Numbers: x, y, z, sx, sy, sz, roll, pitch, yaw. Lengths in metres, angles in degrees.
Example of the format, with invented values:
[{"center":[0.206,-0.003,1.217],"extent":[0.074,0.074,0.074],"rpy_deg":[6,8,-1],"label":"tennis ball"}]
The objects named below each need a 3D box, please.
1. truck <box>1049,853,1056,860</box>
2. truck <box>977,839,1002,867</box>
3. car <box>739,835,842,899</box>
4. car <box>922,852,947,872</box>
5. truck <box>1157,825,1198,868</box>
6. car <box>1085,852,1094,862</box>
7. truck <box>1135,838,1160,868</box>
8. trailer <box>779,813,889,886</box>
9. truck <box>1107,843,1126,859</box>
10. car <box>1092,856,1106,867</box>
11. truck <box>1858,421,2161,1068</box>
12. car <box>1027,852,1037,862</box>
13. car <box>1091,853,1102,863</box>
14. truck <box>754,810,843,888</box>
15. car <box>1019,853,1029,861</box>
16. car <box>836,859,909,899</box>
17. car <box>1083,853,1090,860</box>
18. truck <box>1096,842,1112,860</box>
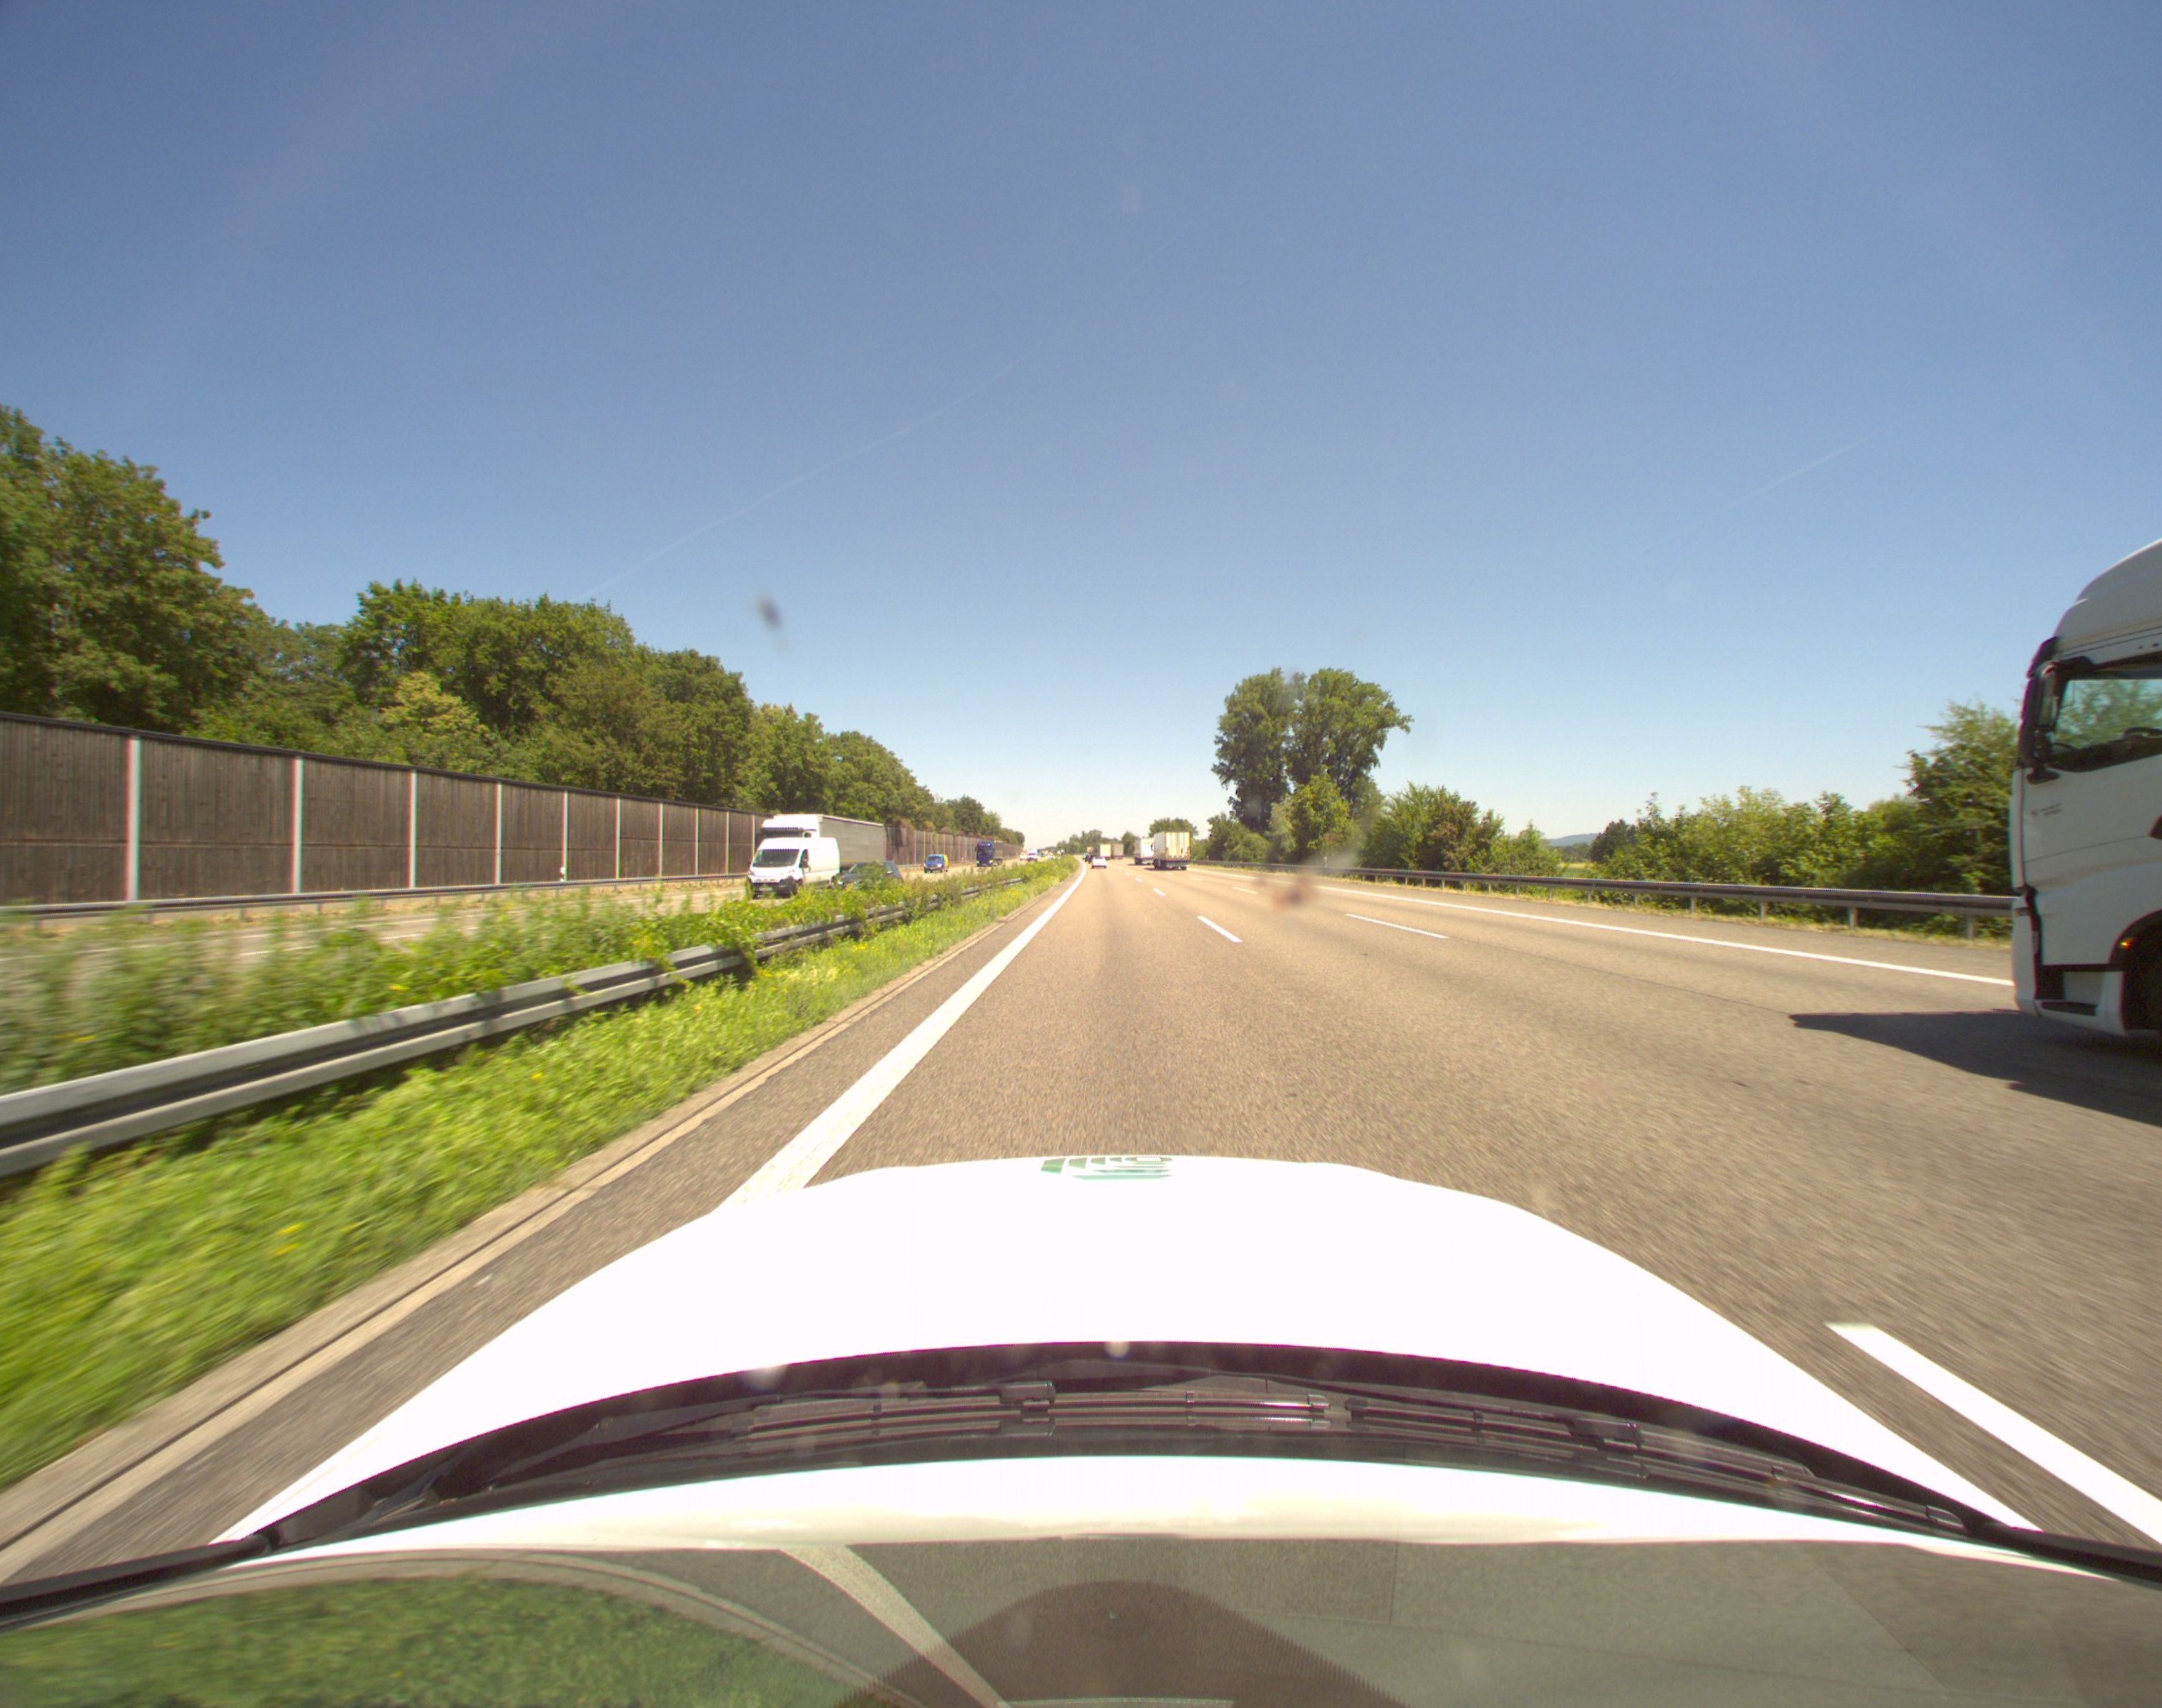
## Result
[{"center":[-7.137,0.607,202.277],"extent":[1.813,1.524,3.625],"rpy_deg":[0,-1,-2],"label":"truck"},{"center":[-14.213,-0.105,126.628],"extent":[2.602,4.128,10.279],"rpy_deg":[-1,0,0],"label":"truck"},{"center":[-12.003,0.505,34.185],"extent":[2.073,2.401,6.043],"rpy_deg":[-1,0,1],"label":"car"},{"center":[-15.288,0.844,85.076],"extent":[1.795,2.014,4.000],"rpy_deg":[-1,0,1],"label":"car"},{"center":[10.077,-0.701,86.478],"extent":[3.478,4.311,10.994],"rpy_deg":[0,-1,2],"label":"truck"},{"center":[1.838,0.708,174.052],"extent":[1.986,2.014,4.001],"rpy_deg":[-1,0,2],"label":"car"},{"center":[10.095,-0.129,124.007],"extent":[3.346,4.311,10.834],"rpy_deg":[0,-1,2],"label":"truck"},{"center":[-15.322,-0.230,52.079],"extent":[2.495,4.034,13.426],"rpy_deg":[0,0,2],"label":"trailer"},{"center":[9.592,-0.736,221.020],"extent":[3.822,4.311,11.537],"rpy_deg":[0,-1,-4],"label":"truck"},{"center":[2.221,0.913,100.543],"extent":[1.709,1.369,3.377],"rpy_deg":[-1,0,2],"label":"car"},{"center":[8.450,-0.739,4.805],"extent":[2.596,4.287,5.437],"rpy_deg":[0,-1,2],"label":"truck"},{"center":[-10.780,0.673,179.629],"extent":[1.988,2.014,3.998],"rpy_deg":[-1,0,-1],"label":"car"},{"center":[2.768,0.784,148.032],"extent":[1.986,1.772,4.001],"rpy_deg":[-1,0,1],"label":"car"},{"center":[-15.585,-0.256,45.454],"extent":[2.492,4.055,6.365],"rpy_deg":[-1,0,2],"label":"truck"},{"center":[-15.078,0.837,215.663],"extent":[1.986,2.014,4.002],"rpy_deg":[0,-1,2],"label":"car"},{"center":[-8.100,0.922,31.945],"extent":[1.753,1.428,3.936],"rpy_deg":[-1,0,1],"label":"car"},{"center":[1.491,0.726,216.960],"extent":[1.718,1.783,3.999],"rpy_deg":[-1,0,0],"label":"car"},{"center":[5.631,-0.570,202.739],"extent":[3.569,4.311,12.186],"rpy_deg":[0,-1,0],"label":"truck"}]
